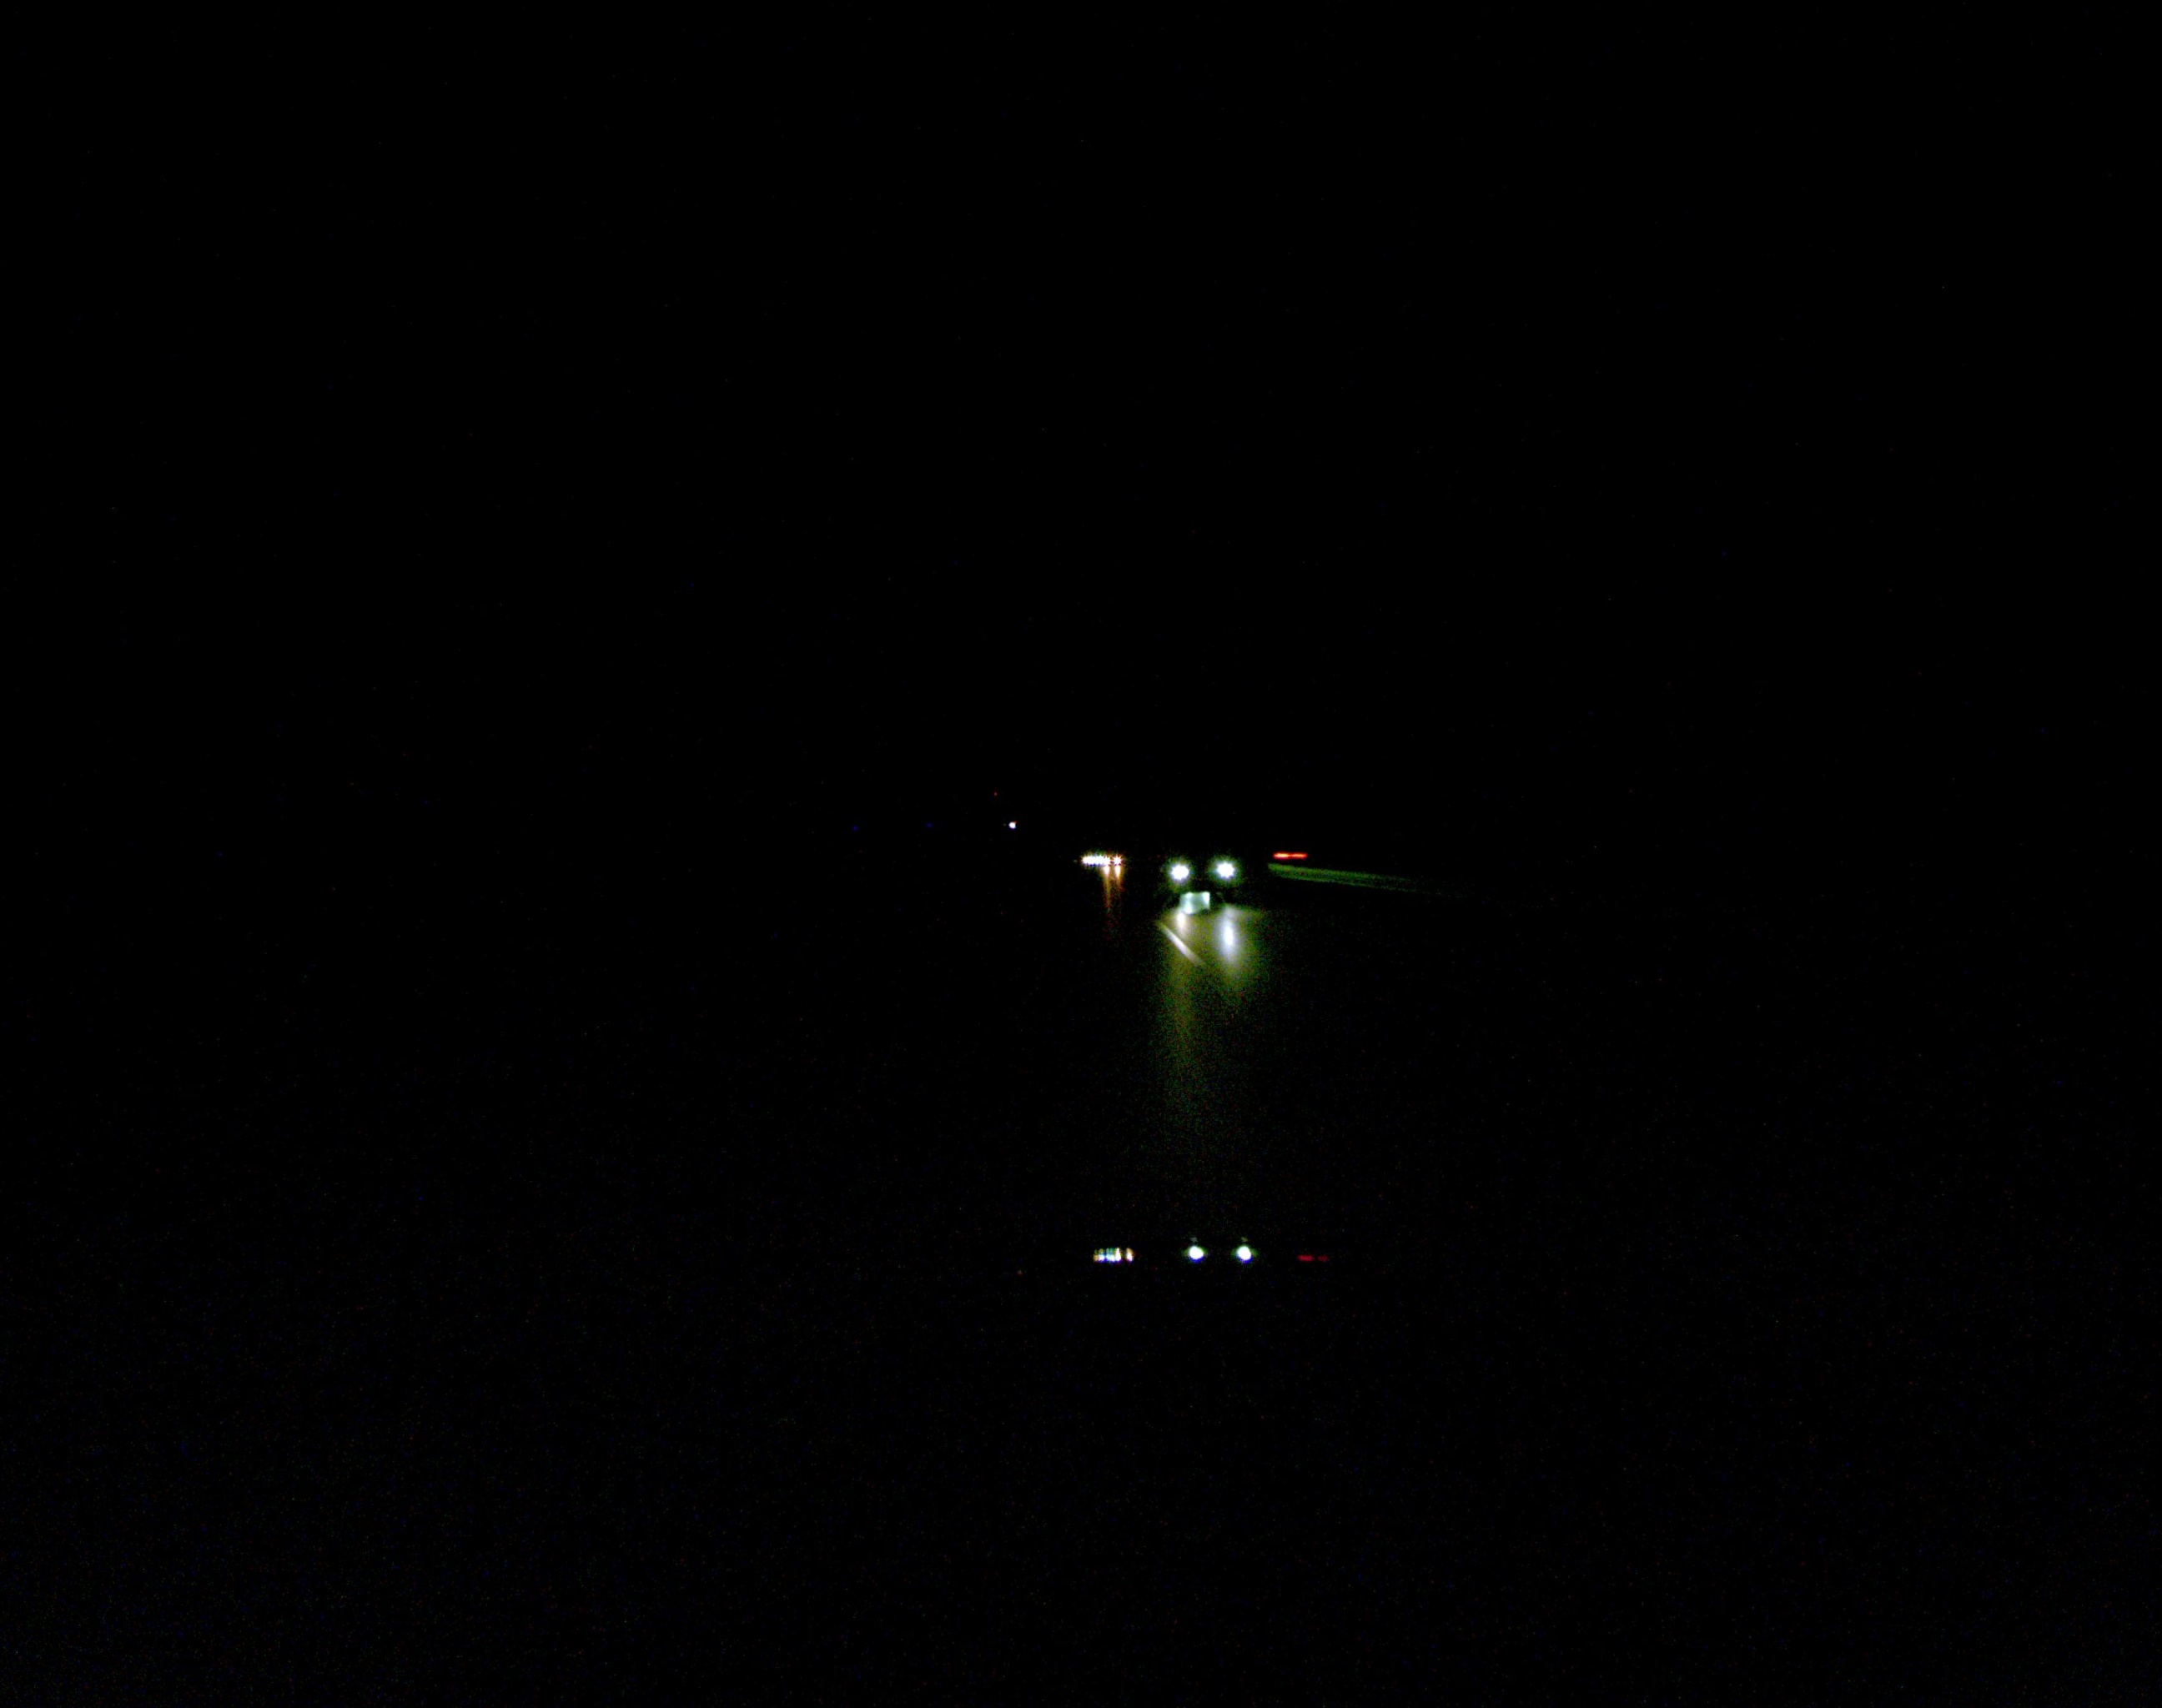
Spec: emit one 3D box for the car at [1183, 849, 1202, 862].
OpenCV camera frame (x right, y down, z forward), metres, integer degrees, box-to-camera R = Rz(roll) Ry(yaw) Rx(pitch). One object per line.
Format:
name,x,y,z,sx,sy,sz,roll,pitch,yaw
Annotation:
car,17.102,0.202,116.437,2.202,1.944,4.763,-3,0,1

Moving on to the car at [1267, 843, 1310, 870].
car,16.782,0.181,61.670,2.202,1.944,4.763,-3,0,1

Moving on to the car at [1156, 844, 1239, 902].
car,3.863,0.583,26.285,1.998,1.711,5.942,-3,0,1

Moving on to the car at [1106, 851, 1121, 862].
car,4.506,0.319,106.046,1.998,1.423,4.329,-3,1,2

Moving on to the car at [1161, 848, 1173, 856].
car,18.646,-0.502,165.258,2.202,1.672,4.763,-3,0,1
